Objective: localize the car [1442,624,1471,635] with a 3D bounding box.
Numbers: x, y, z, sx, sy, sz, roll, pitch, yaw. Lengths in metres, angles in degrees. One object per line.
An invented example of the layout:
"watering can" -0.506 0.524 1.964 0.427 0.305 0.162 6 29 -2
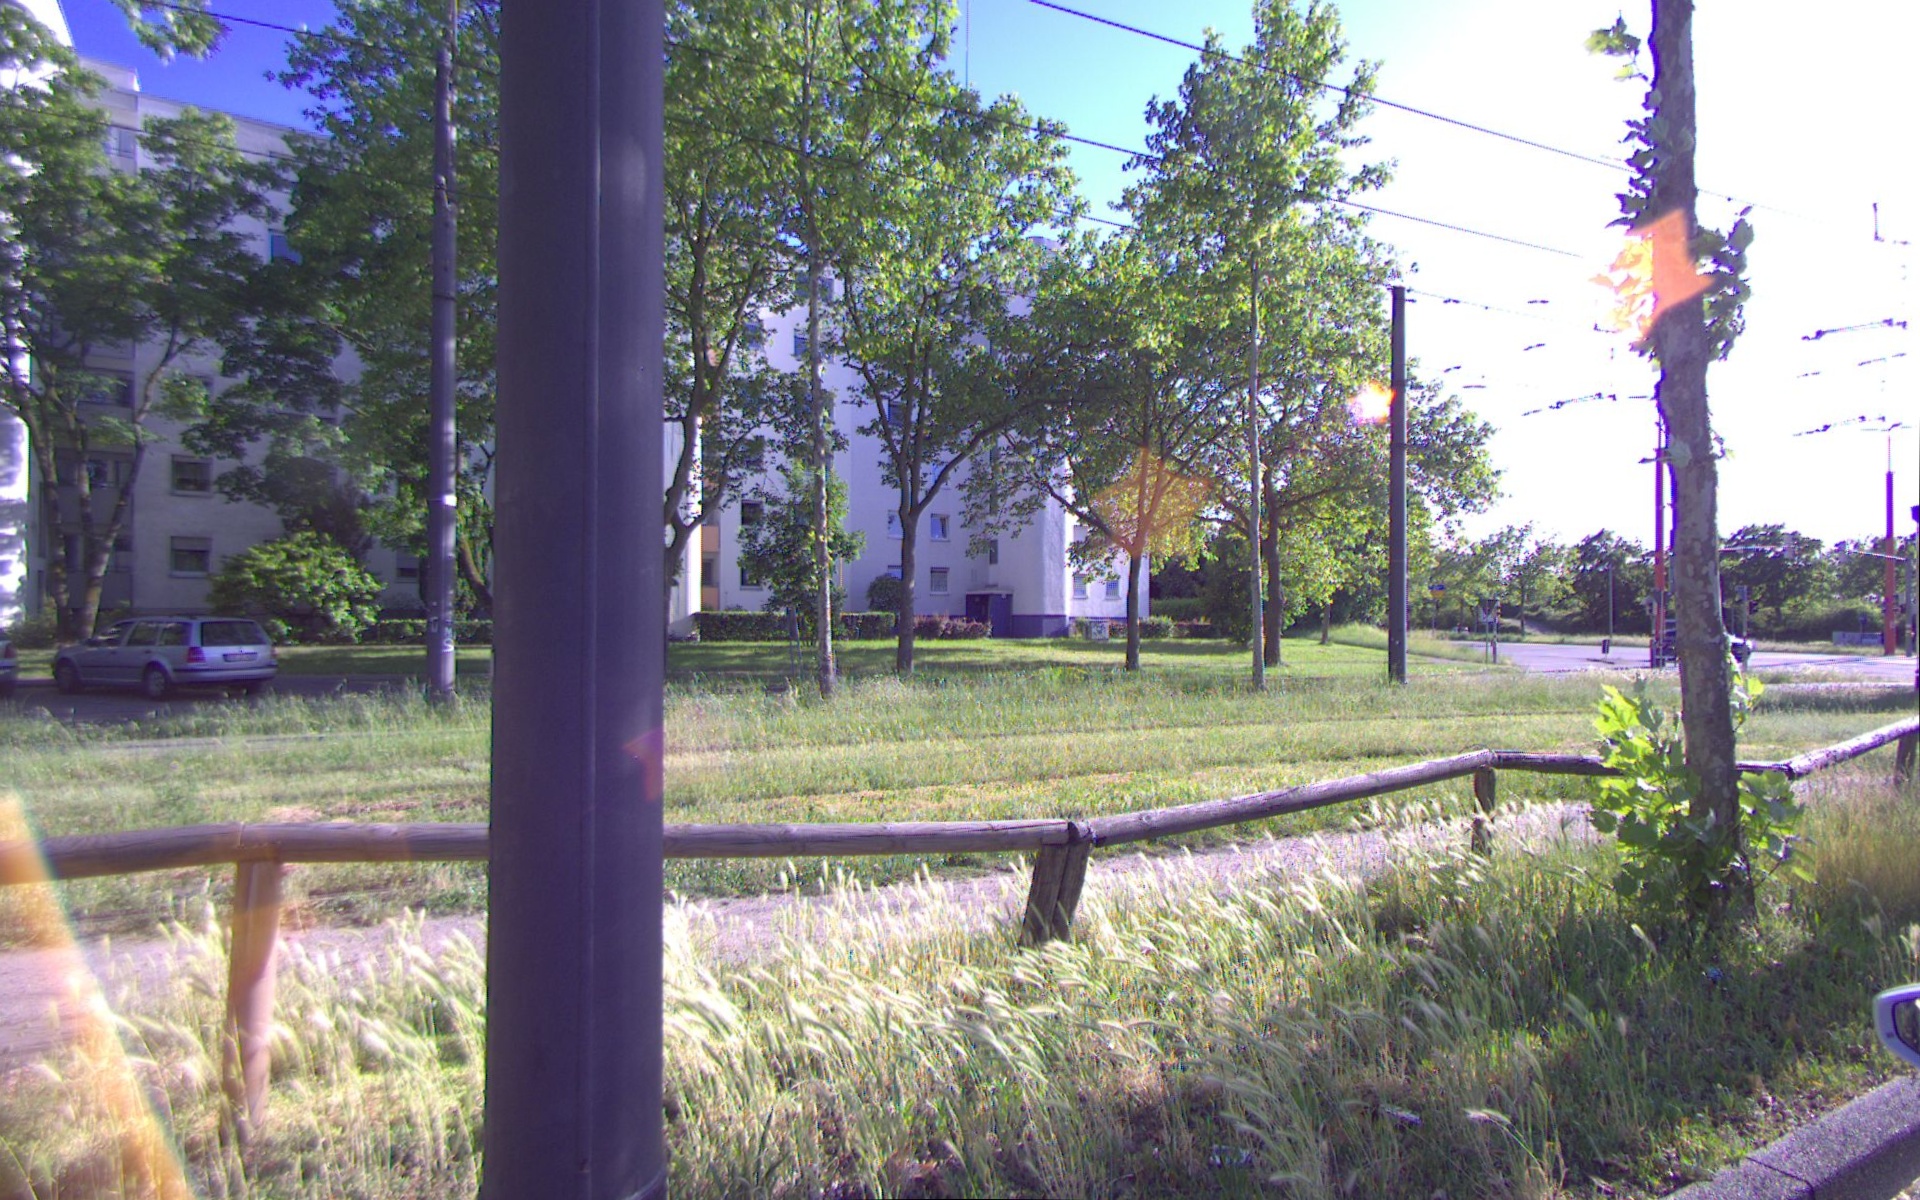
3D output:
"car" 62.166 3.700 125.872 1.630 1.327 3.815 1 -1 -1

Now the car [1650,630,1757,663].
"car" 39.005 2.396 52.844 1.962 1.564 4.645 1 -1 -5

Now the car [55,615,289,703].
"car" -14.478 1.023 18.480 3.609 1.452 1.732 0 -1 20

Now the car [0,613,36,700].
"car" -17.922 0.924 17.136 3.609 1.452 1.703 0 -1 20
